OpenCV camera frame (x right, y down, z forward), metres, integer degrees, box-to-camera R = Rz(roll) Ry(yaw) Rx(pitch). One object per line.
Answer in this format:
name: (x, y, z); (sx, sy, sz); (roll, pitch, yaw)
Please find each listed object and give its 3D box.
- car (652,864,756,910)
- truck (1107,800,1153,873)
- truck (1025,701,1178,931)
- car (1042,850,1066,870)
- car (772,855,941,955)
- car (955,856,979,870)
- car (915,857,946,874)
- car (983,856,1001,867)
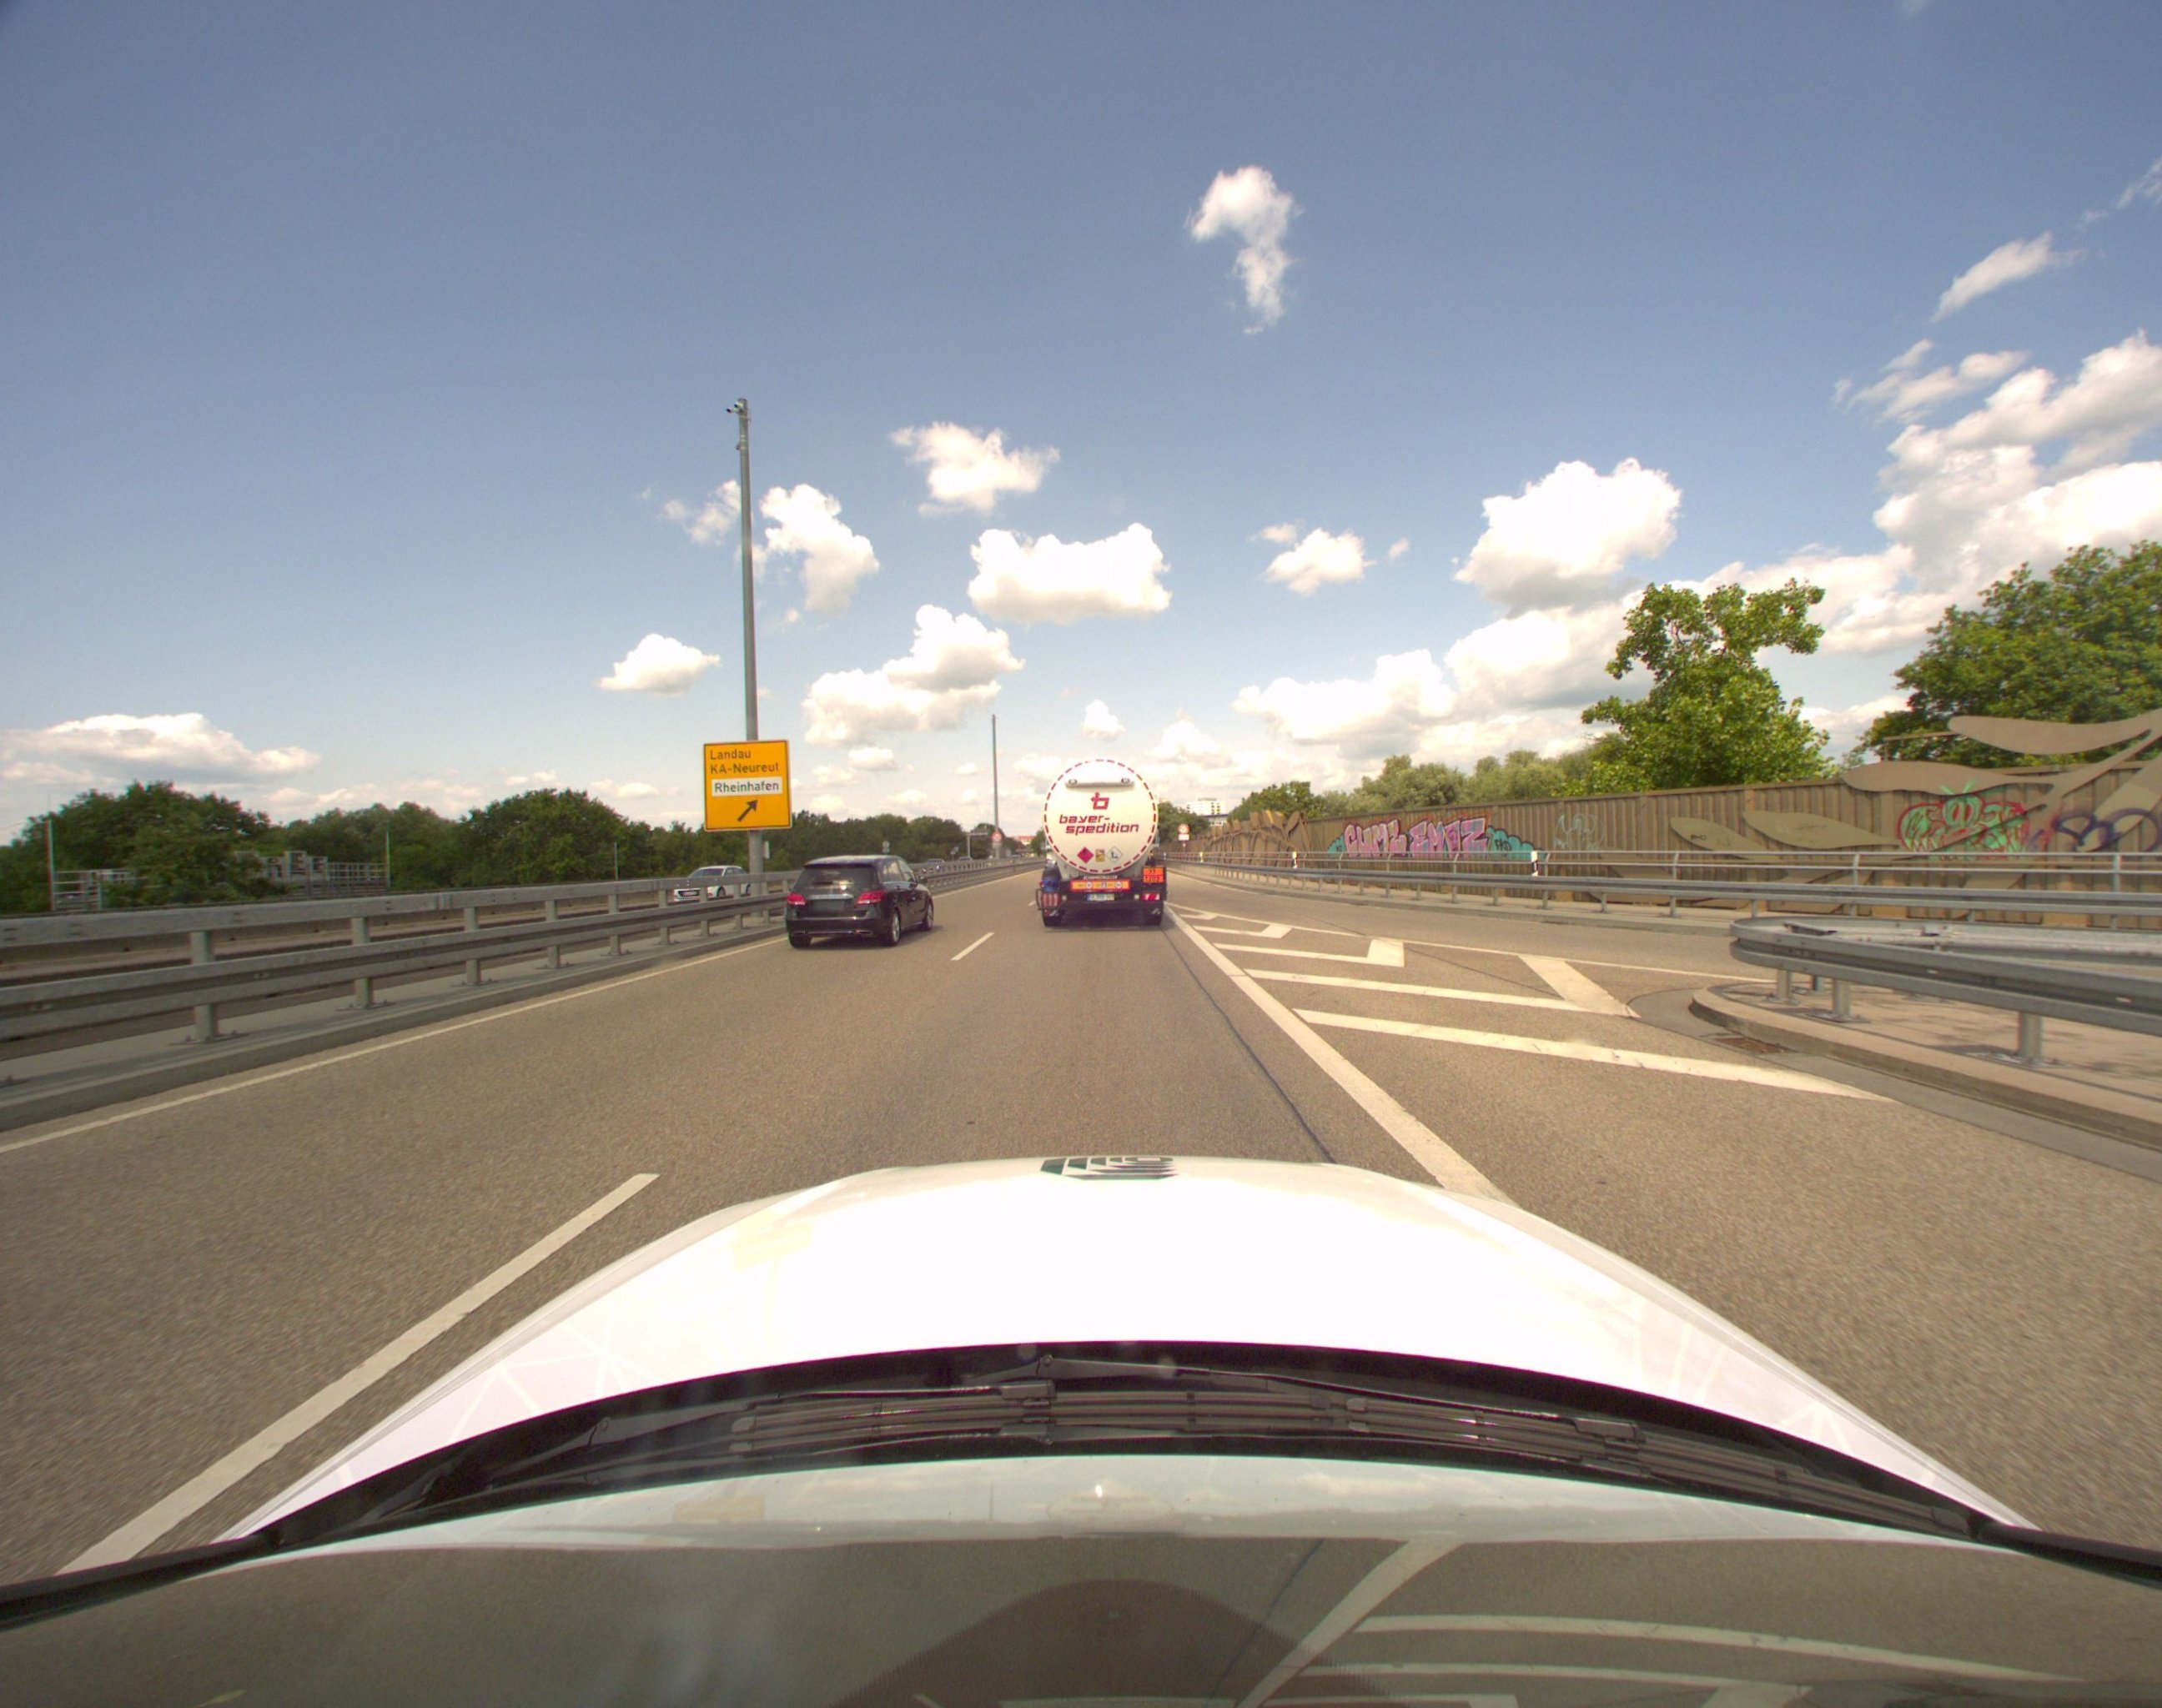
car: (-14.950, 1.257, 32.634); (1.790, 1.596, 4.715); (0, 0, 2)
truck: (3.353, -1.158, 57.762); (2.885, 4.807, 8.030); (0, 0, 1)
truck: (0.453, -0.741, 19.520); (2.885, 4.368, 8.030); (0, 0, 1)
car: (-2.173, 0.436, 66.429); (1.741, 1.531, 4.001); (-1, 1, 1)
car: (-3.893, 0.795, 14.991); (1.705, 1.527, 4.594); (0, 0, 2)
car: (-13.068, 1.022, 93.810); (1.905, 1.464, 4.521); (-2, 0, 2)
car: (-13.730, 1.037, 74.657); (1.770, 1.420, 4.624); (-1, 0, 2)
car: (-12.567, 1.054, 114.968); (1.986, 1.574, 4.001); (0, 0, 1)
